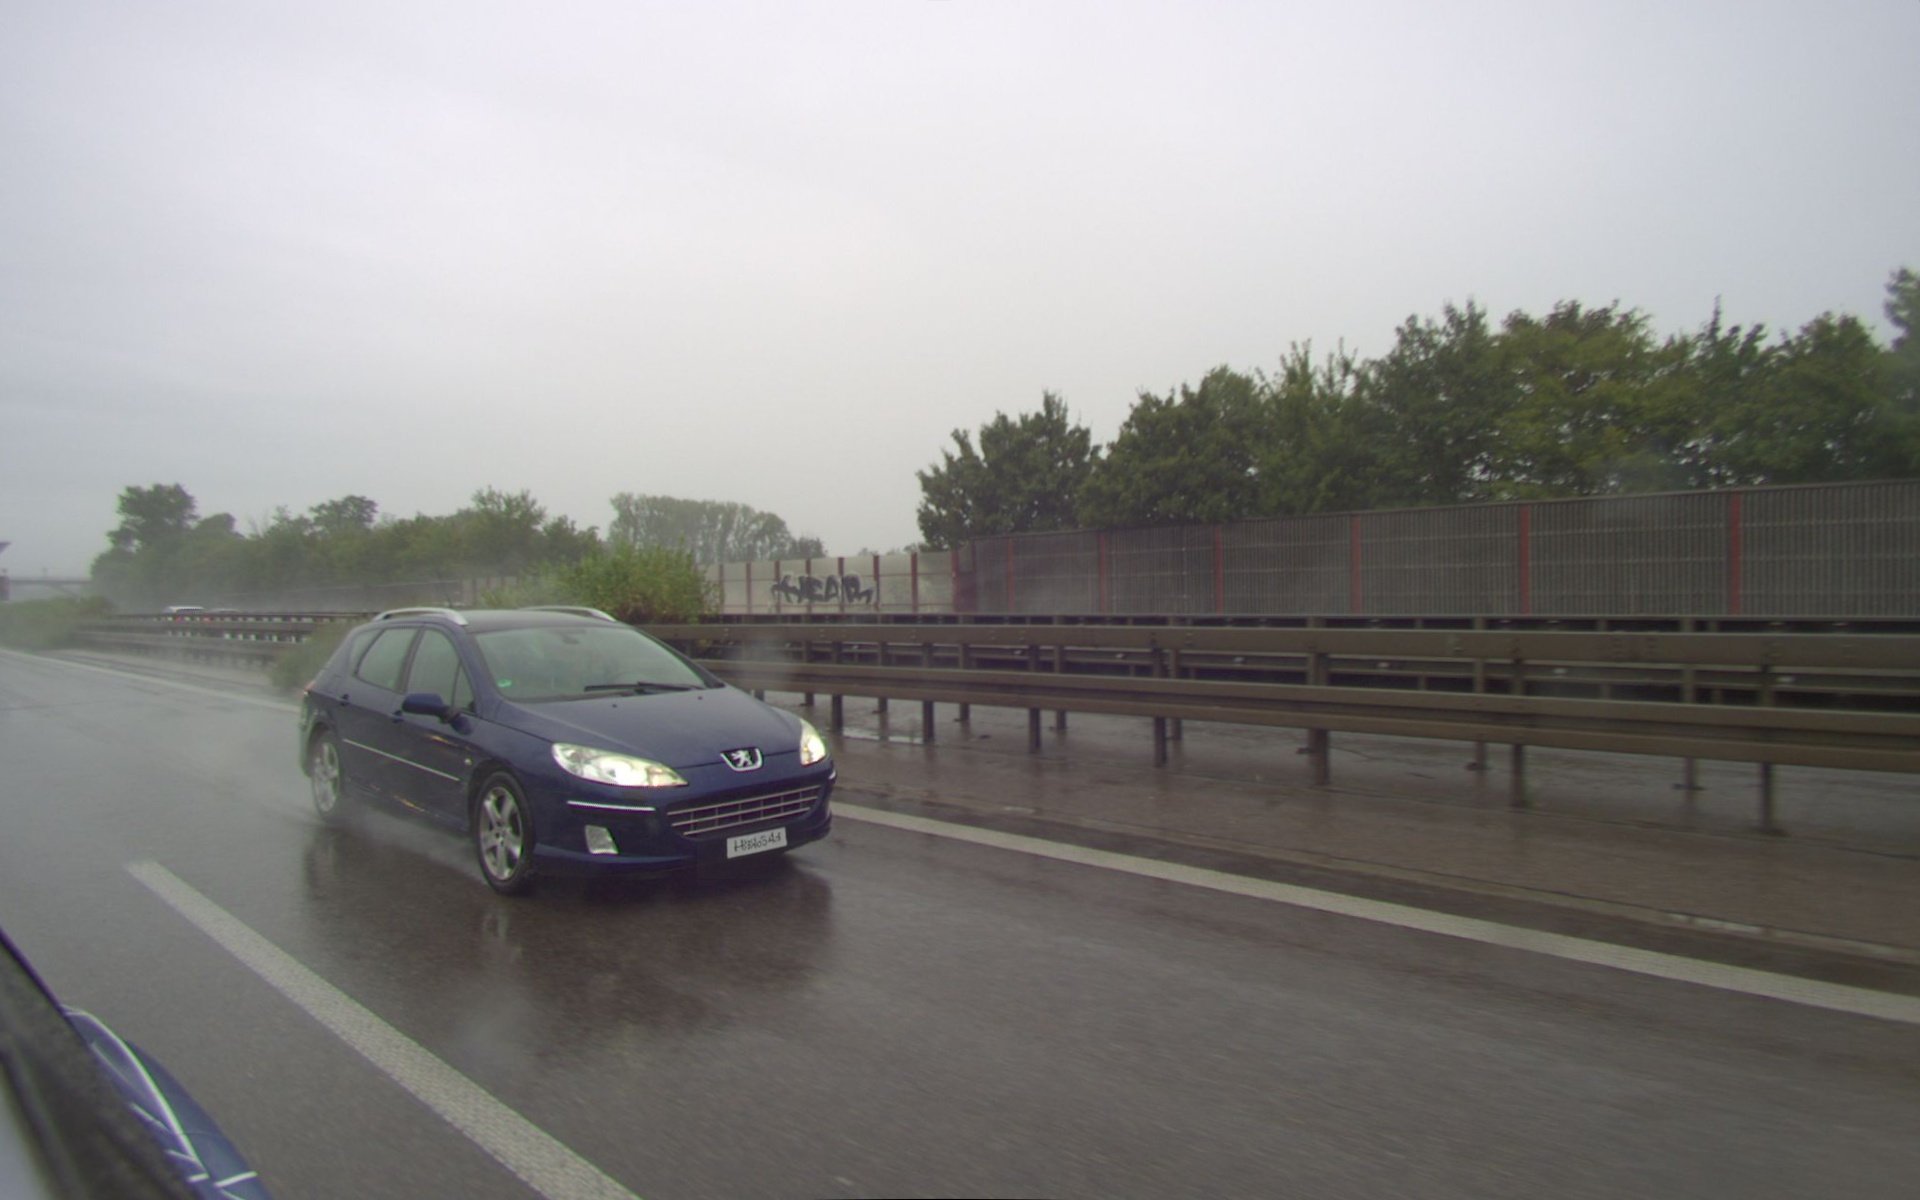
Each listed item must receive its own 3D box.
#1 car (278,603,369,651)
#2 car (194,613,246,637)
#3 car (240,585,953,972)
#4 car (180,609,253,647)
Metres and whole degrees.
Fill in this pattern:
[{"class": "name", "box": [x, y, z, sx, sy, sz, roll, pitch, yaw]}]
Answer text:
[{"class": "car", "box": [-22.072, 0.917, 35.050, 3.765, 1.562, 1.764, -1, -1, 42]}, {"class": "car", "box": [-45.720, 1.552, 62.482, 3.919, 1.395, 1.819, -1, -1, 42]}, {"class": "car", "box": [-2.636, 0.718, 6.410, 5.156, 1.496, 2.033, -1, 0, 42]}, {"class": "car", "box": [-33.871, 1.246, 46.062, 4.000, 1.608, 1.972, -1, -1, 43]}]
